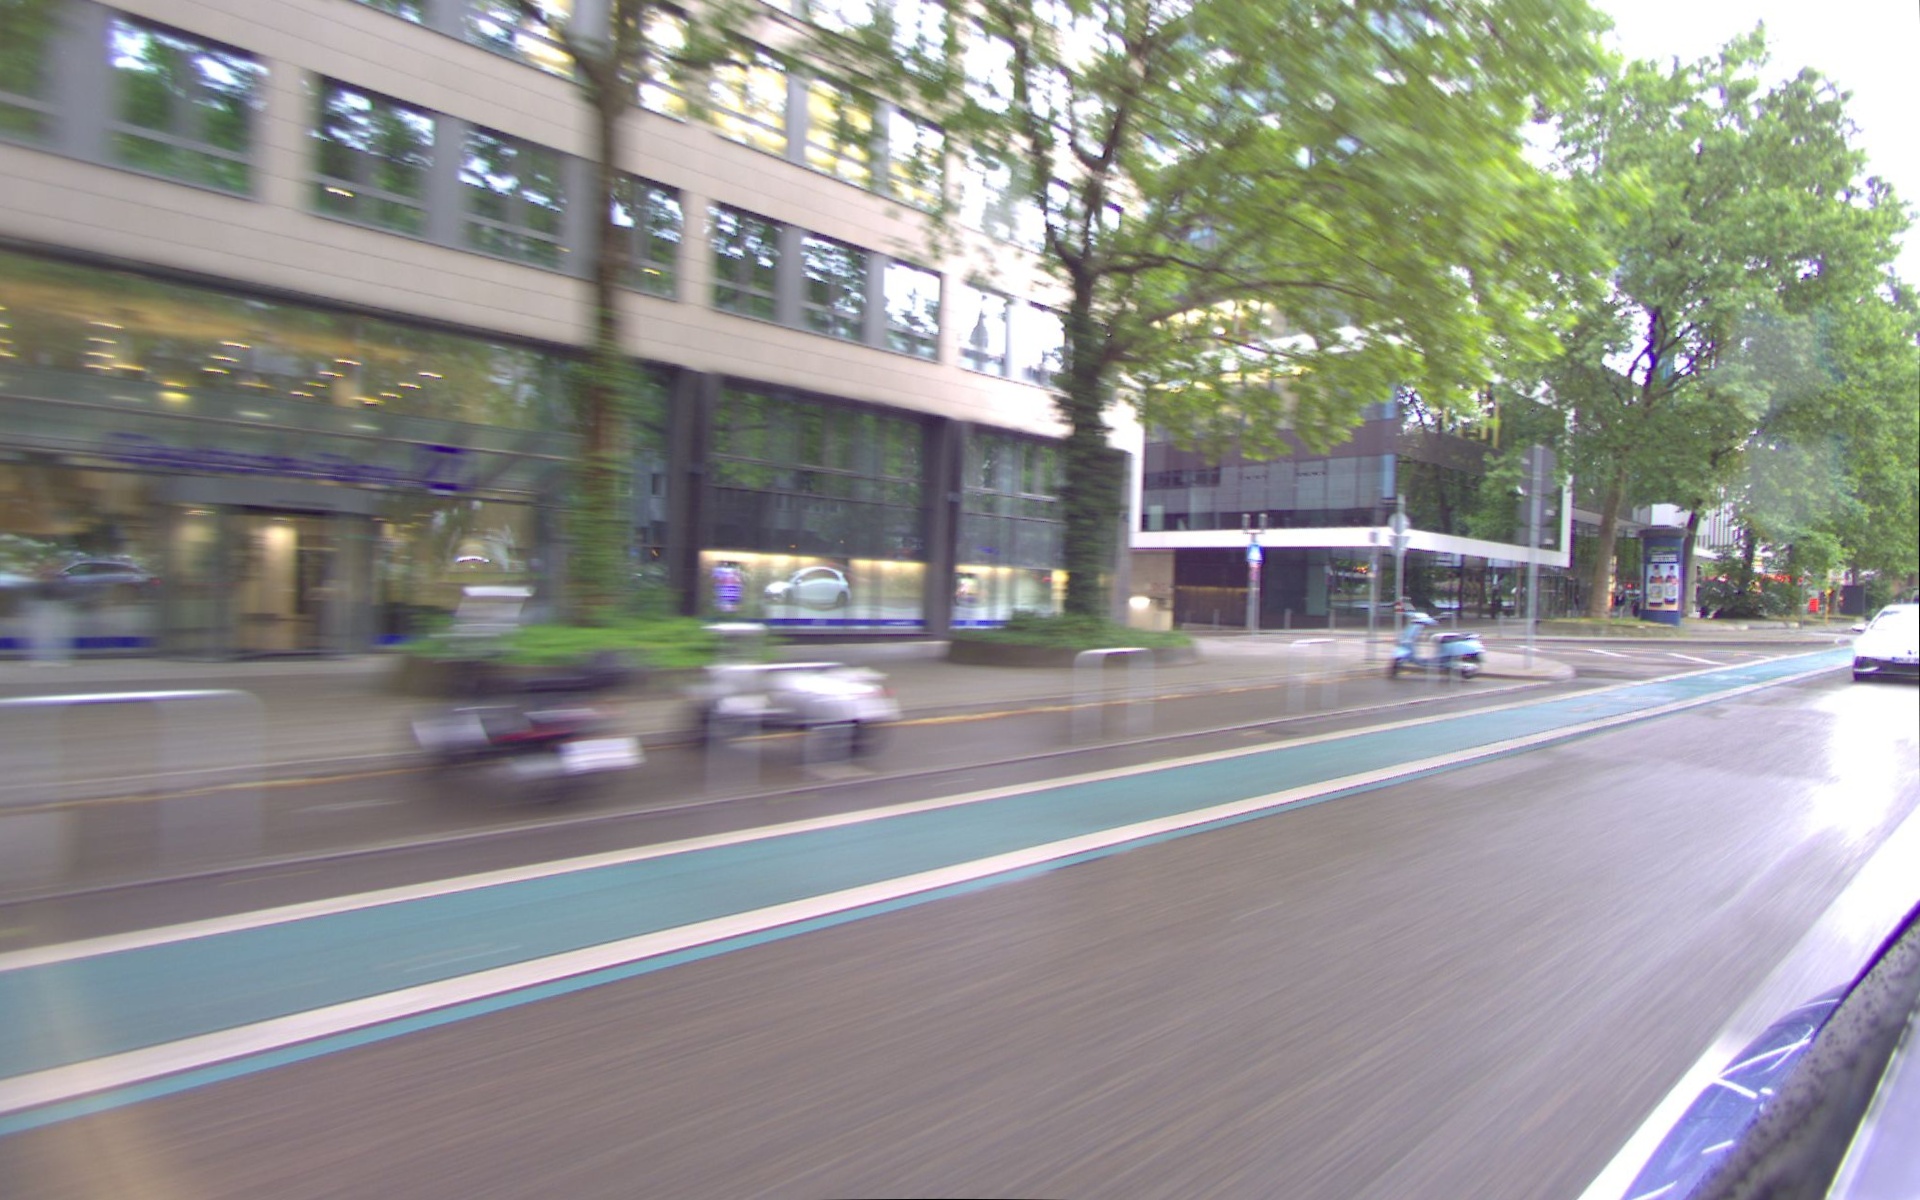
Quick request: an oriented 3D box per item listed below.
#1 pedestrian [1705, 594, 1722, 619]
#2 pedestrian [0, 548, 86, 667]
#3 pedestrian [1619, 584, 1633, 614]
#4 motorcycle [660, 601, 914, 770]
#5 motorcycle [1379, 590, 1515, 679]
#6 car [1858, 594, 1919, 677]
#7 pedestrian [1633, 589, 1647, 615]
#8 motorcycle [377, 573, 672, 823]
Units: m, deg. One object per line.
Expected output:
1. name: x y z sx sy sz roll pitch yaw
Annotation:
1. pedestrian: 45.888 0.384 61.622 0.987 1.524 0.588 1 1 -40
2. pedestrian: -13.738 0.095 15.047 0.813 1.714 0.729 2 1 2
3. pedestrian: 43.312 -0.083 65.790 0.692 1.881 0.523 -1 4 -41
4. motorcycle: -1.484 0.689 8.715 2.030 1.227 0.682 3 3 14
5. motorcycle: 8.358 0.575 17.423 1.908 1.383 0.685 2 3 0
6. car: 18.690 0.635 19.344 3.727 1.490 1.794 0 0 -41
7. pedestrian: 43.802 0.102 65.182 0.707 1.645 0.527 -1 4 -41
8. motorcycle: -3.039 0.590 7.002 2.042 1.446 0.722 3 1 29
